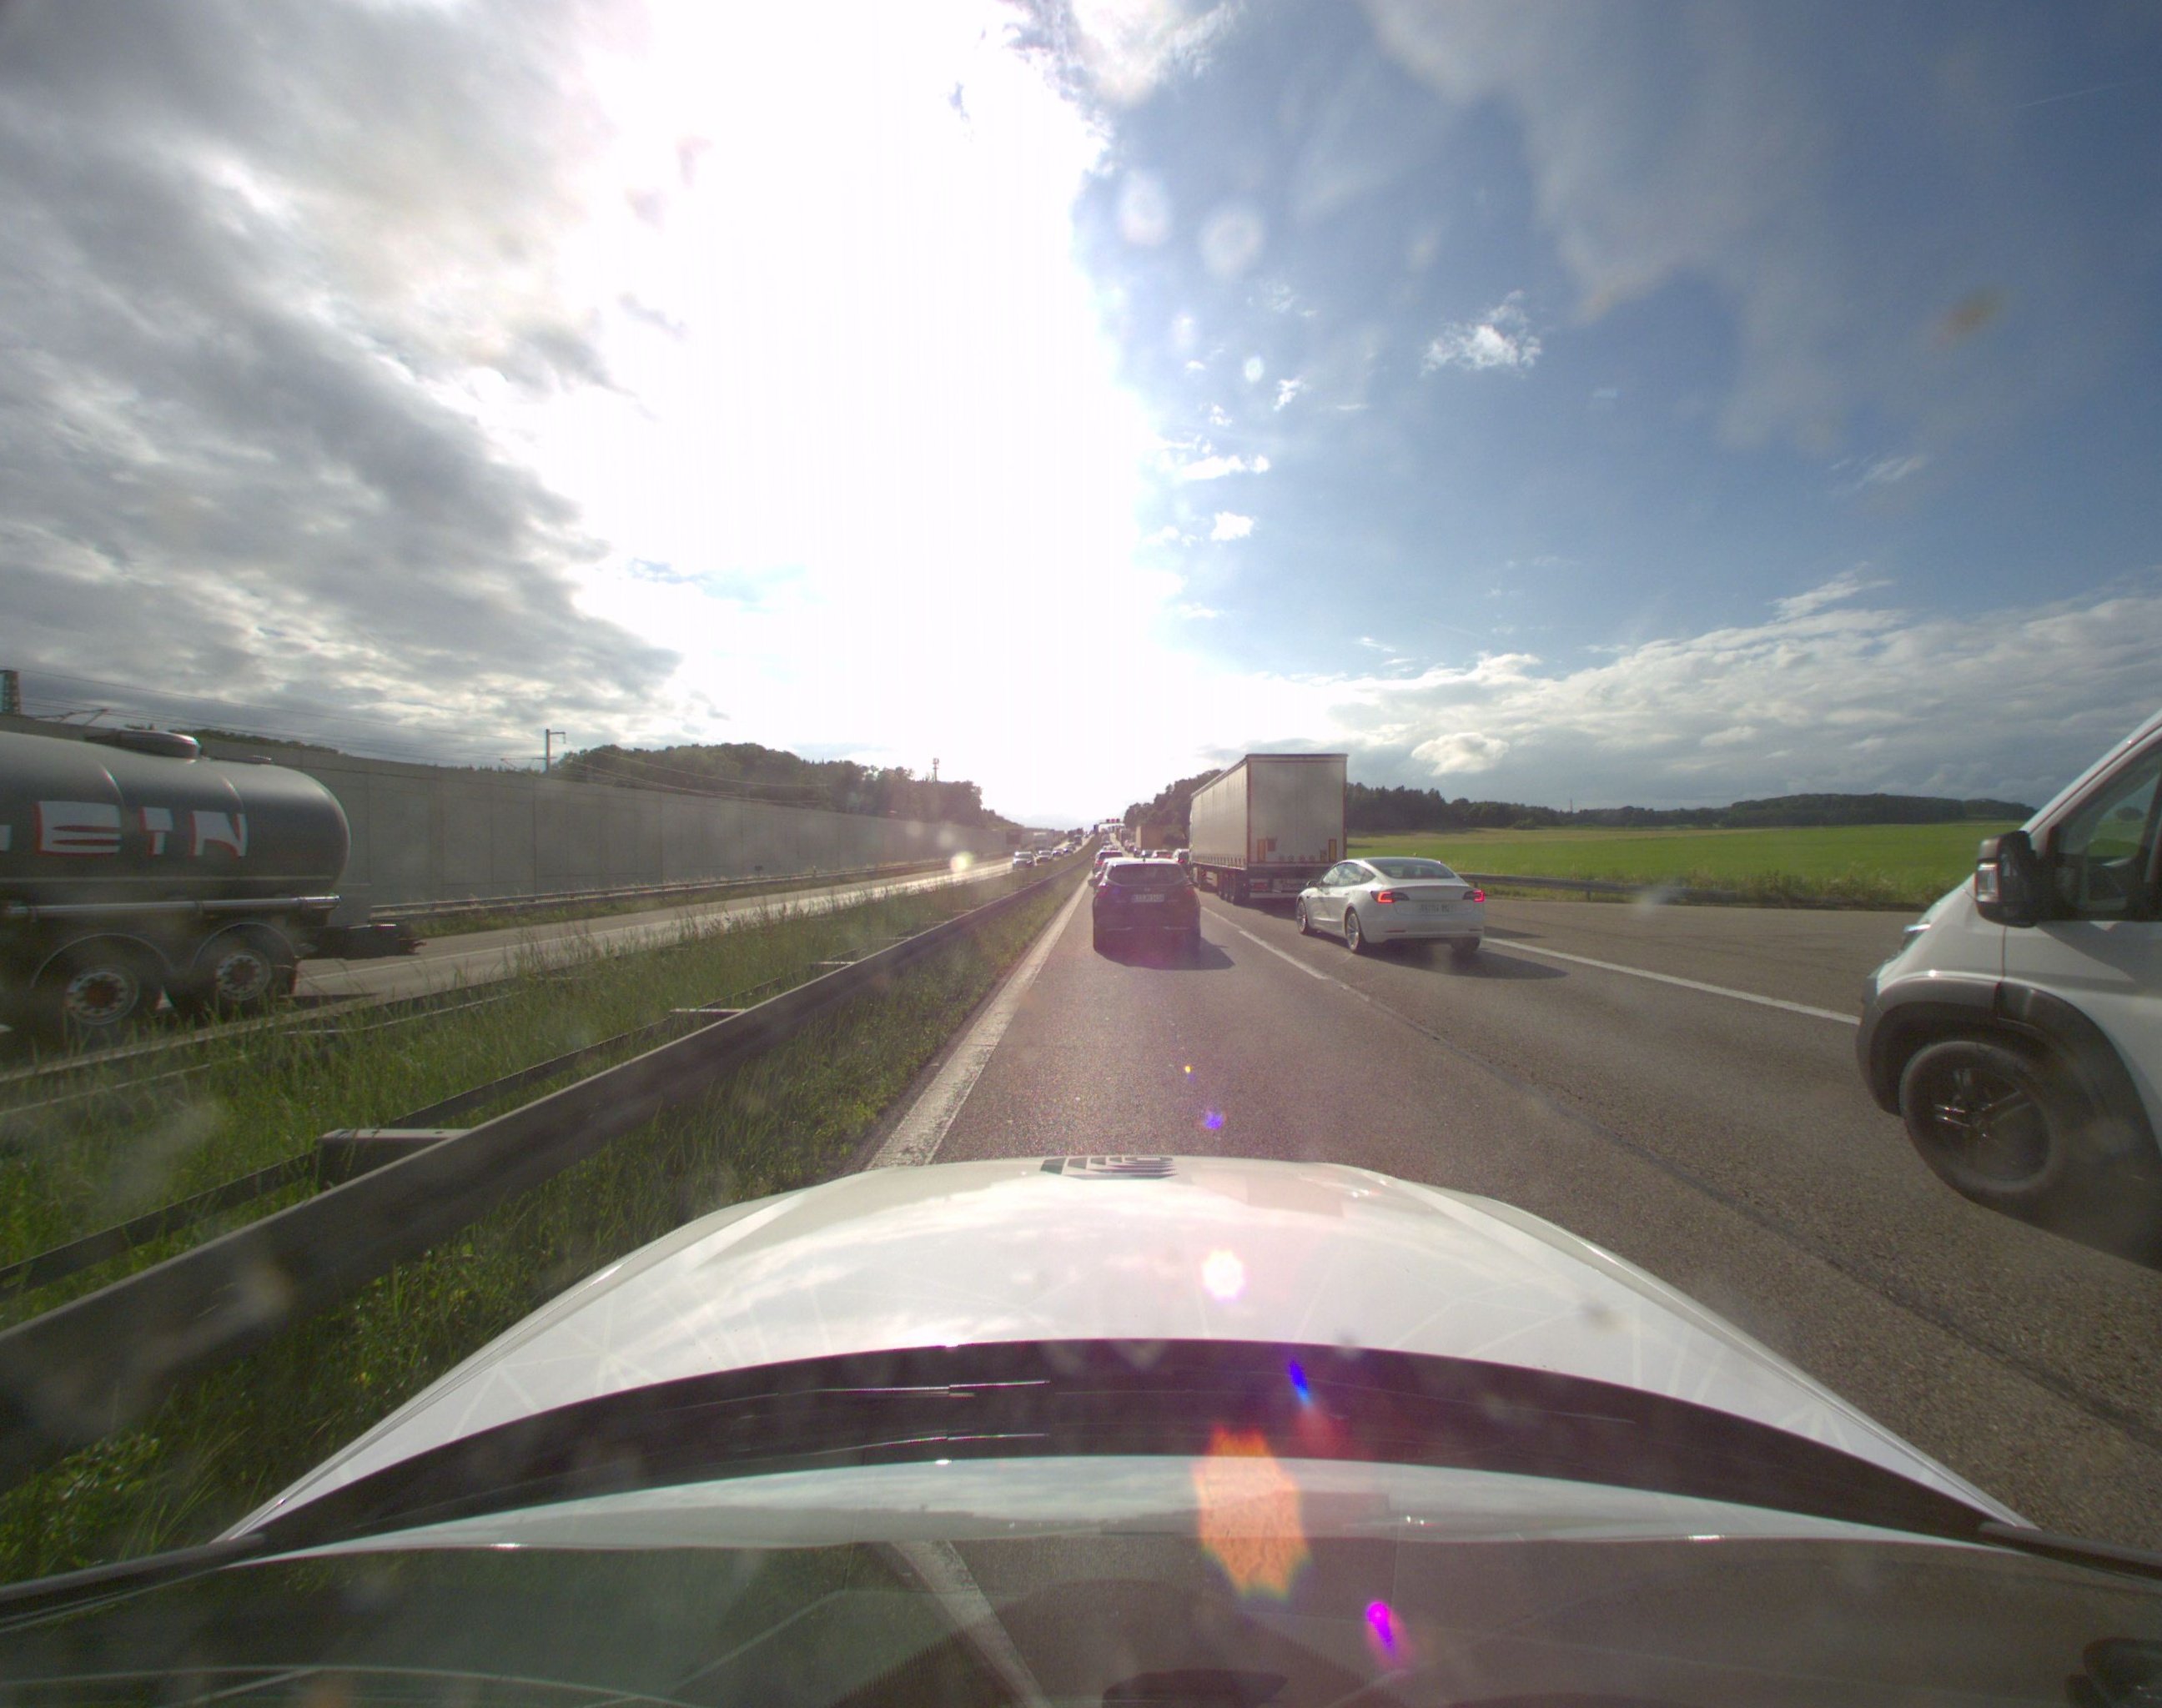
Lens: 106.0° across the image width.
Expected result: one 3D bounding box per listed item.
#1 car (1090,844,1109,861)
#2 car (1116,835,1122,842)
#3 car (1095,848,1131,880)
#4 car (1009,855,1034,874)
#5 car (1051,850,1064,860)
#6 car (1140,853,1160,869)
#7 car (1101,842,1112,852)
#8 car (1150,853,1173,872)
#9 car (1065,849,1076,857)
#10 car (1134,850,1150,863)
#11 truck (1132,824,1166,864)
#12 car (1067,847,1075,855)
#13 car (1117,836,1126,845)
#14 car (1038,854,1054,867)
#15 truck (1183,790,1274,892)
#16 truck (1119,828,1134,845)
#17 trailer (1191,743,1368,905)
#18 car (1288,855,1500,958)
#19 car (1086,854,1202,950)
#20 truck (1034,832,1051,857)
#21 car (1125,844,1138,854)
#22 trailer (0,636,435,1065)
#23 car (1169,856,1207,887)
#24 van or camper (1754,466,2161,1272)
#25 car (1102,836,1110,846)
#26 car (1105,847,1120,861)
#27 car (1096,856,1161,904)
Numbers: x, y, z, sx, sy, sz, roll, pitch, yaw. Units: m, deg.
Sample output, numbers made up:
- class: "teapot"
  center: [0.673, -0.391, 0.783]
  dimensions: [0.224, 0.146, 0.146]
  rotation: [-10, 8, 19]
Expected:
- class: "car"
  center: [1.955, -0.153, 83.831]
  dimensions: [1.866, 1.644, 4.234]
  rotation: [-1, 1, 2]
- class: "car"
  center: [11.949, -4.878, 255.290]
  dimensions: [1.866, 2.158, 5.214]
  rotation: [-1, 2, 2]
- class: "car"
  center: [1.753, 0.525, 44.957]
  dimensions: [1.866, 1.644, 4.234]
  rotation: [-1, 0, 2]
- class: "car"
  center: [-5.446, 0.954, 75.151]
  dimensions: [1.774, 1.737, 4.104]
  rotation: [-1, 0, 2]
- class: "car"
  center: [-3.633, 0.229, 127.248]
  dimensions: [1.762, 1.479, 3.831]
  rotation: [-1, -1, 2]
- class: "car"
  center: [7.371, 0.699, 87.111]
  dimensions: [1.866, 1.644, 4.234]
  rotation: [-1, 0, 2]
- class: "car"
  center: [4.493, -1.225, 144.138]
  dimensions: [1.867, 1.644, 4.233]
  rotation: [-1, 1, 1]
- class: "car"
  center: [7.646, 0.798, 77.682]
  dimensions: [1.866, 1.644, 4.234]
  rotation: [-2, 0, 2]
- class: "car"
  center: [-1.860, -0.177, 147.428]
  dimensions: [1.735, 1.358, 4.234]
  rotation: [-1, 0, 2]
- class: "car"
  center: [8.418, 0.293, 111.923]
  dimensions: [1.867, 1.644, 4.231]
  rotation: [-1, 0, 0]
- class: "truck"
  center: [8.257, -1.102, 100.775]
  dimensions: [3.286, 4.577, 12.440]
  rotation: [0, -1, 1]
- class: "car"
  center: [-2.121, -0.684, 176.648]
  dimensions: [1.702, 1.706, 4.174]
  rotation: [-1, 0, 1]
- class: "car"
  center: [9.937, -3.338, 200.247]
  dimensions: [1.866, 2.158, 5.214]
  rotation: [-1, 2, 2]
- class: "car"
  center: [-4.223, 0.838, 98.727]
  dimensions: [1.691, 1.499, 4.428]
  rotation: [-1, 0, 1]
- class: "truck"
  center: [6.176, -0.480, 34.849]
  dimensions: [3.121, 4.016, 5.166]
  rotation: [-1, -1, 2]
- class: "truck"
  center: [12.490, -4.827, 225.709]
  dimensions: [3.452, 4.577, 12.442]
  rotation: [0, 1, 1]
- class: "trailer"
  center: [5.839, -0.608, 26.966]
  dimensions: [3.118, 4.011, 13.373]
  rotation: [-1, -1, 2]
- class: "car"
  center: [4.873, 0.723, 13.431]
  dimensions: [1.783, 1.394, 4.436]
  rotation: [-1, 0, 0]
- class: "car"
  center: [1.046, 0.749, 14.705]
  dimensions: [1.766, 1.451, 4.234]
  rotation: [-1, 0, 2]
- class: "truck"
  center: [-6.785, -1.673, 143.249]
  dimensions: [2.371, 4.181, 5.934]
  rotation: [-2, -1, 2]
- class: "car"
  center: [8.877, -0.952, 143.037]
  dimensions: [1.868, 1.644, 4.230]
  rotation: [-1, 1, -1]
- class: "trailer"
  center: [-11.122, 0.005, 6.709]
  dimensions: [2.579, 3.902, 10.867]
  rotation: [-2, 0, 1]
- class: "car"
  center: [5.827, 0.915, 44.602]
  dimensions: [1.690, 1.610, 4.440]
  rotation: [-1, 0, 3]
- class: "van or camper"
  center: [4.659, 0.027, 1.166]
  dimensions: [2.207, 2.681, 6.334]
  rotation: [-1, 0, 1]
- class: "car"
  center: [5.840, -3.039, 188.248]
  dimensions: [1.866, 2.158, 5.214]
  rotation: [-1, 2, 2]
- class: "car"
  center: [3.942, -0.068, 102.611]
  dimensions: [1.866, 1.644, 4.235]
  rotation: [-1, 1, 2]
- class: "car"
  center: [1.472, 0.769, 25.886]
  dimensions: [1.866, 1.358, 4.234]
  rotation: [-1, 0, 2]
